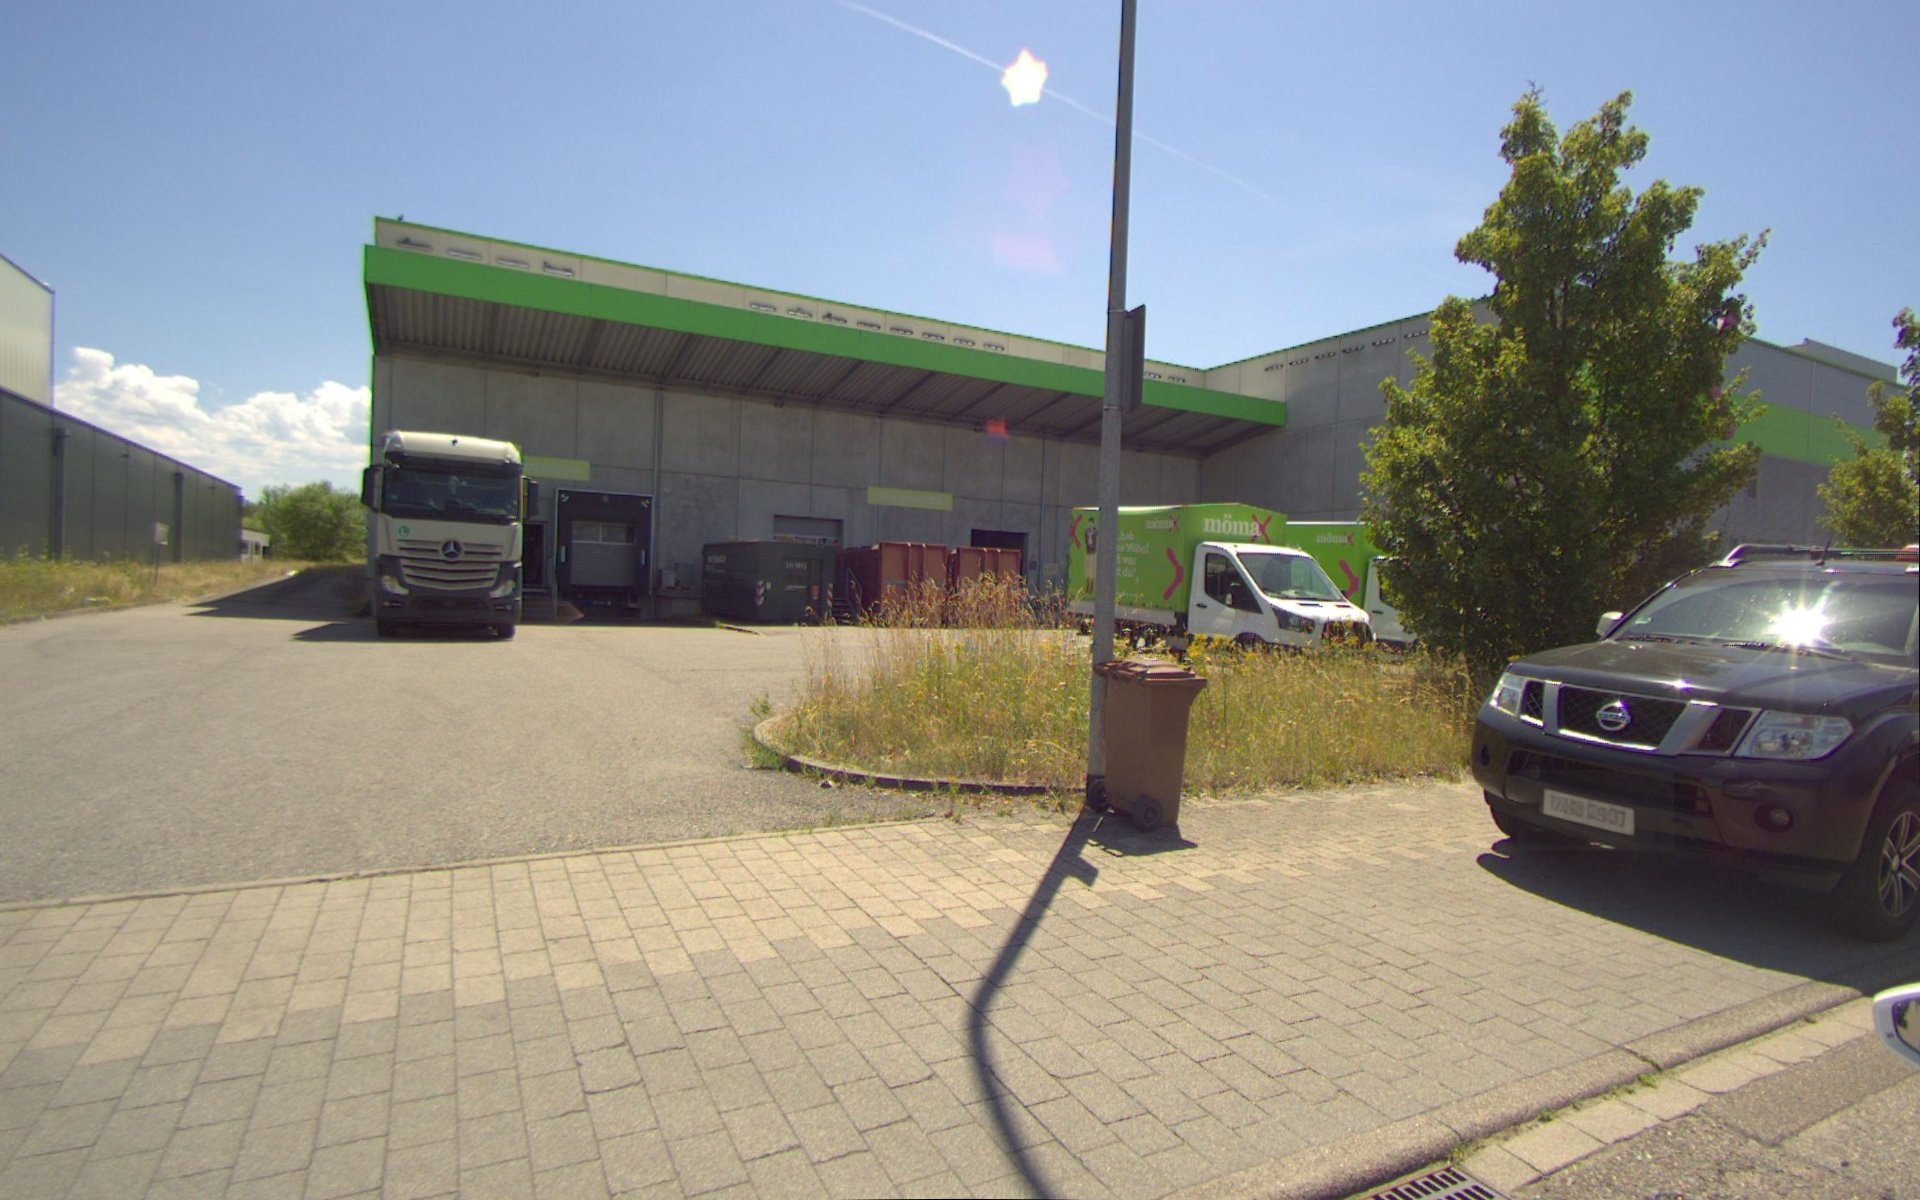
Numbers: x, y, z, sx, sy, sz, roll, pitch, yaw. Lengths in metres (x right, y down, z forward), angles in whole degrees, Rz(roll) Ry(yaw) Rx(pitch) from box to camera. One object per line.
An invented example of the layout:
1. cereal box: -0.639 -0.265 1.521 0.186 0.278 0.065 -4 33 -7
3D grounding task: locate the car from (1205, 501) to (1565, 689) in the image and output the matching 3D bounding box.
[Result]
1. car: 7.701 -0.172 19.067 2.490 2.965 5.948 2 2 -28

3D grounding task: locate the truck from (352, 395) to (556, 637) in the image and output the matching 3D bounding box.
1. truck: -10.395 -1.466 20.754 3.178 4.142 6.082 2 0 -27

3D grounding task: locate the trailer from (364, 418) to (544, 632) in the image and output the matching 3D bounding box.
1. trailer: -13.671 -1.578 27.178 3.178 4.142 15.261 2 0 -27

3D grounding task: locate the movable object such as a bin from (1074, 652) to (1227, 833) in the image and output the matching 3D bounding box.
1. movable object such as a bin: 1.134 0.816 6.008 0.675 0.963 0.545 1 2 -30

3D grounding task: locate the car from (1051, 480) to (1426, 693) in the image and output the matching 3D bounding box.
1. car: 4.237 -0.272 16.679 2.490 2.862 5.948 2 2 -28

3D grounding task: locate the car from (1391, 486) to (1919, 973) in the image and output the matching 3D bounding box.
1. car: 5.288 0.533 6.097 5.336 1.926 1.965 2 3 -29
